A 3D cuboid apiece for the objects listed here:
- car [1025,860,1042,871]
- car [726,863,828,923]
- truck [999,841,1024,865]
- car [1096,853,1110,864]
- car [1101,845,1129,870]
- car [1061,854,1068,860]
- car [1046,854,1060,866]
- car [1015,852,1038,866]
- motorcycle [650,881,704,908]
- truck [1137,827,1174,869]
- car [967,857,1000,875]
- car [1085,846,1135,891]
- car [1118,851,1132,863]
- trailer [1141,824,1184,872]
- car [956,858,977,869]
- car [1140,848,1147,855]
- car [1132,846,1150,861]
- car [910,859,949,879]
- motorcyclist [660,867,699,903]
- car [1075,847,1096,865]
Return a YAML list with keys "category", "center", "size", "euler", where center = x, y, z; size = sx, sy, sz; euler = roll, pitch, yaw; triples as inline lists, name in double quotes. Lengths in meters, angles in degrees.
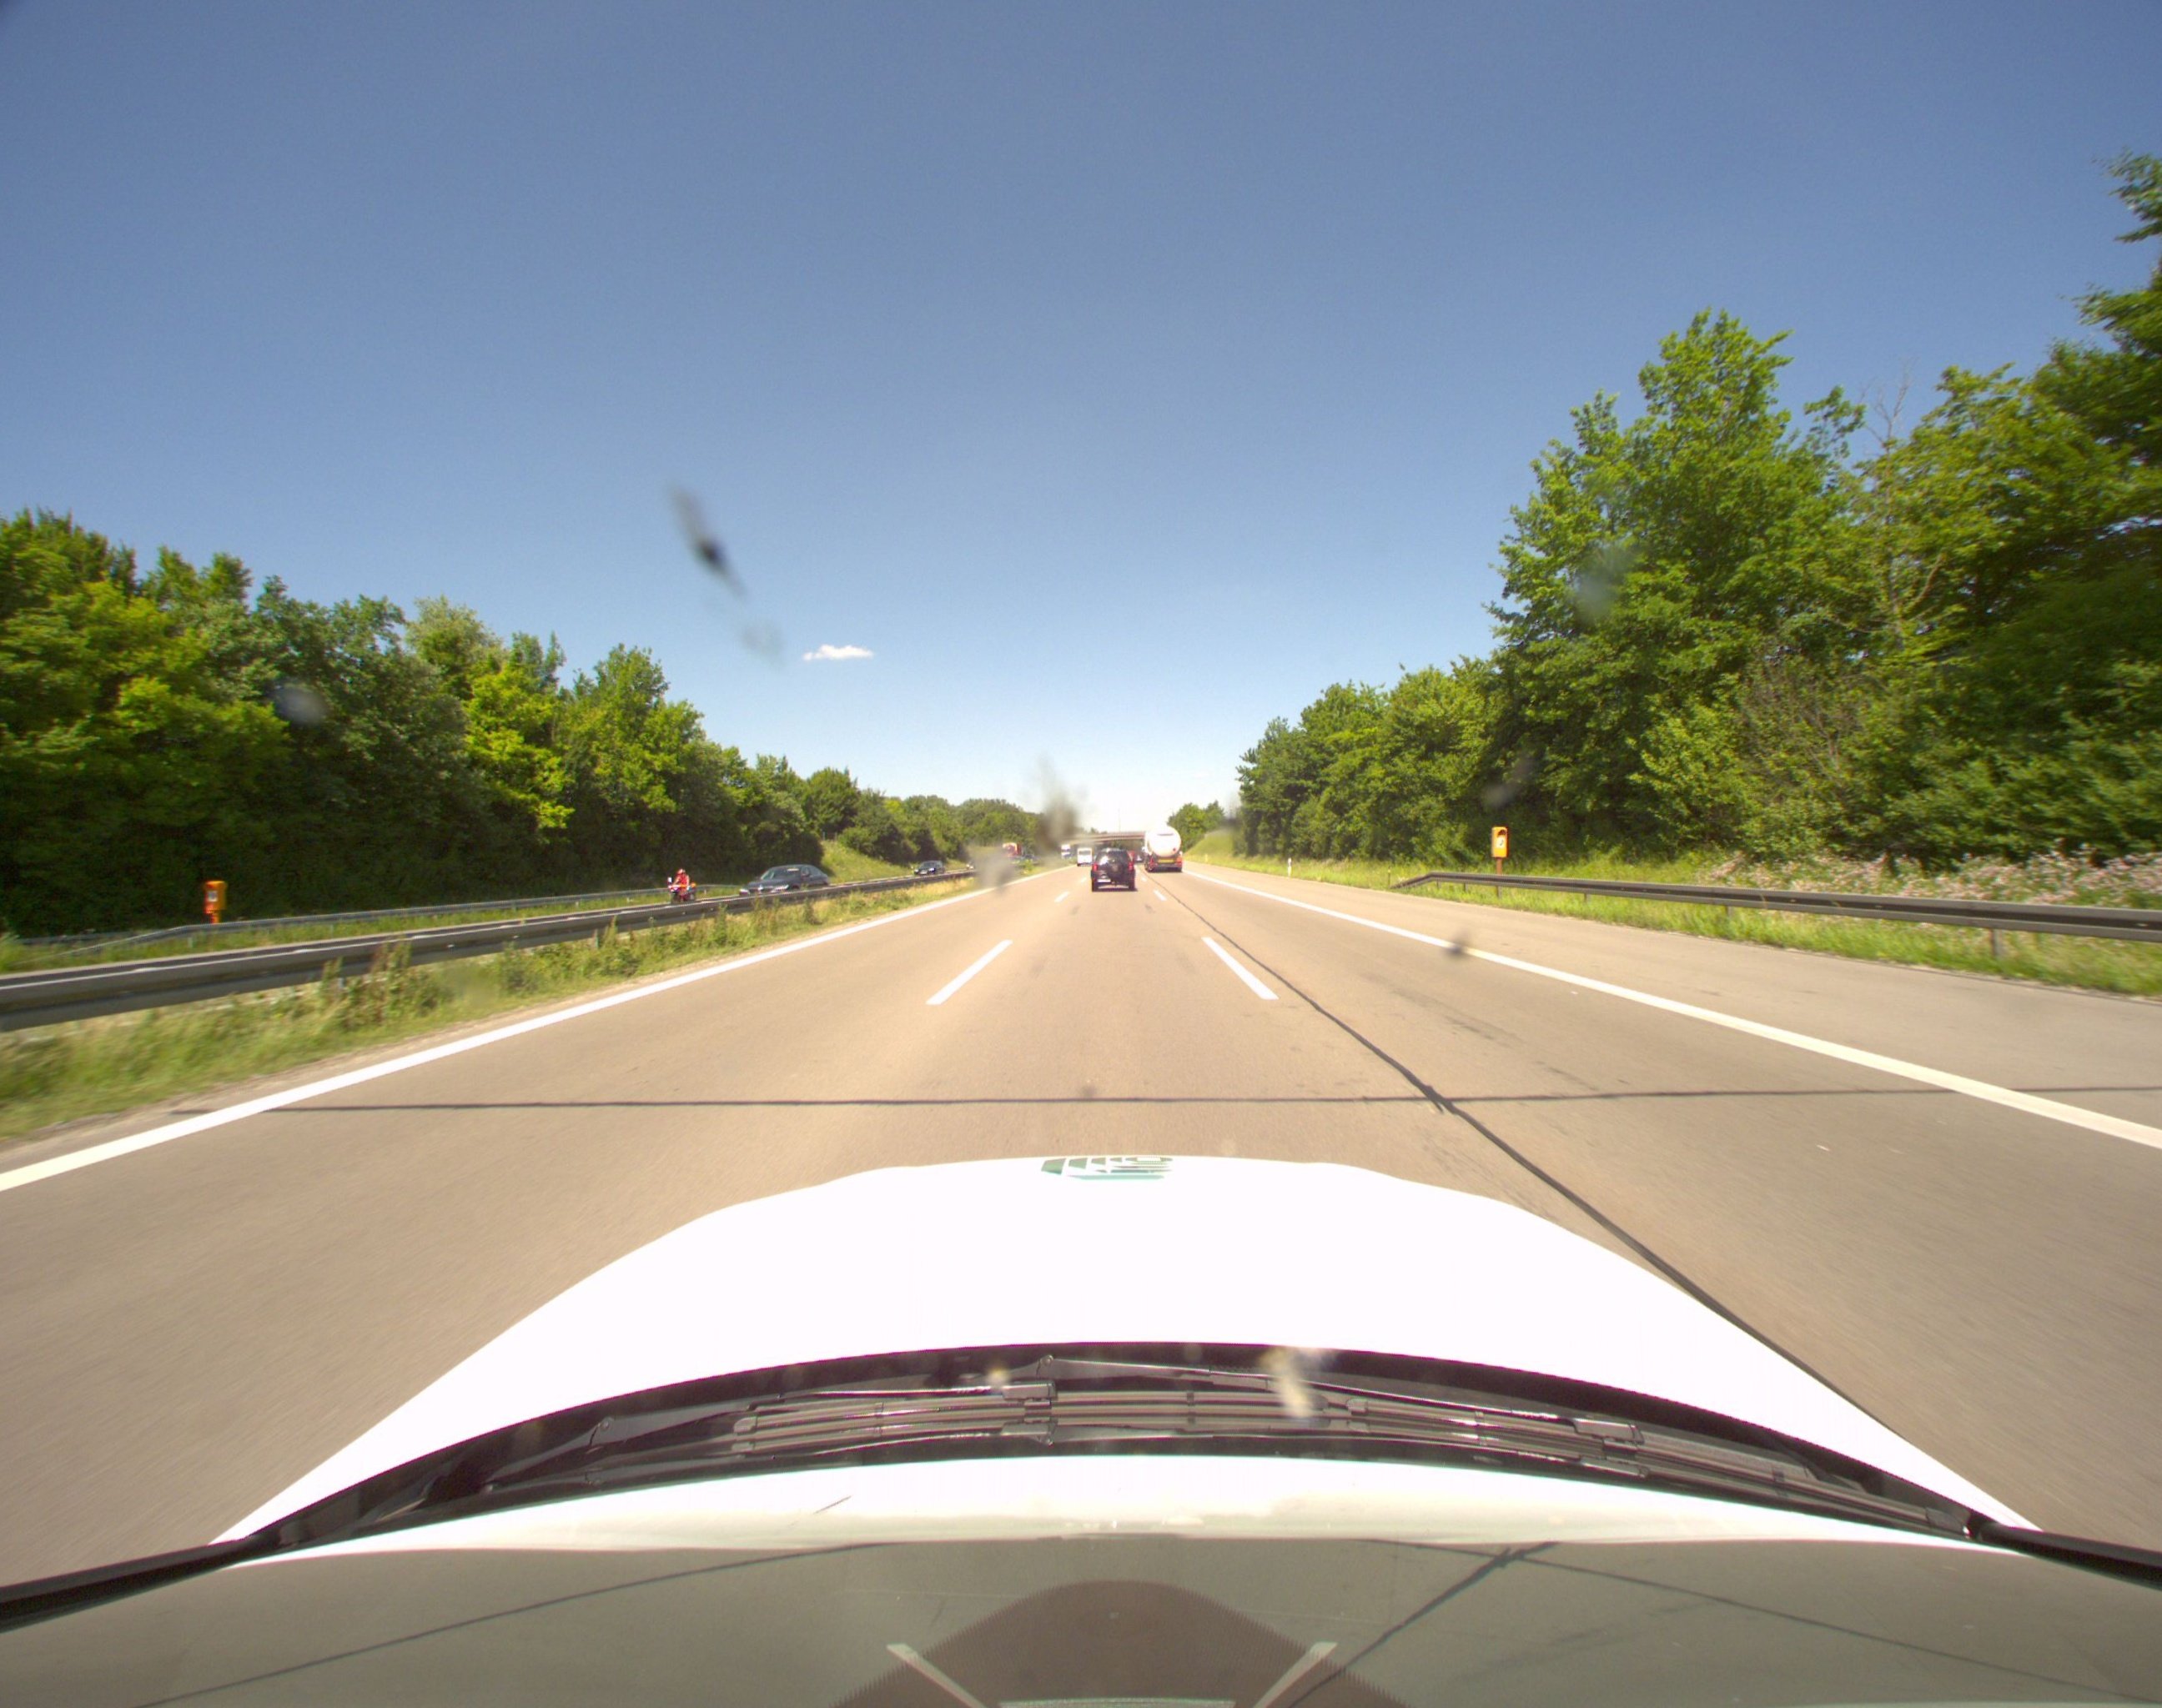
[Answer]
- category: "car"
  center: [-6.372, 1.536, 109.757]
  size: [1.661, 1.317, 4.124]
  euler: [-2, 0, 3]
- category: "car"
  center: [-10.994, 1.325, 29.852]
  size: [1.684, 1.881, 5.020]
  euler: [-3, 0, 1]
- category: "truck"
  center: [-11.828, -0.230, 139.662]
  size: [2.668, 3.769, 9.927]
  euler: [-3, 0, 3]
- category: "car"
  center: [3.157, 0.670, 117.966]
  size: [1.986, 1.552, 4.001]
  euler: [-2, -1, 2]
- category: "car"
  center: [2.565, 0.261, 61.515]
  size: [1.986, 1.706, 4.338]
  euler: [-3, 0, 2]
- category: "car"
  center: [-4.796, 0.782, 239.810]
  size: [1.851, 1.600, 4.724]
  euler: [-2, 0, 3]
- category: "car"
  center: [-4.609, 1.052, 135.493]
  size: [1.986, 1.865, 4.900]
  euler: [-2, 0, 2]
- category: "car"
  center: [-6.201, 0.548, 93.043]
  size: [1.945, 1.483, 4.350]
  euler: [-2, 0, 4]
- category: "motorcycle"
  center: [-17.489, 1.728, 35.344]
  size: [0.931, 1.017, 2.656]
  euler: [-2, 0, 2]
- category: "truck"
  center: [6.329, -0.481, 69.706]
  size: [2.628, 3.374, 6.489]
  euler: [-1, 0, 1]
- category: "car"
  center: [-8.480, 1.025, 71.088]
  size: [1.986, 1.475, 4.834]
  euler: [-2, 0, 2]
- category: "car"
  center: [1.259, 0.570, 33.552]
  size: [1.898, 1.665, 4.004]
  euler: [-2, 0, 4]
- category: "car"
  center: [6.925, 0.481, 127.132]
  size: [1.984, 1.750, 4.210]
  euler: [-2, 0, 5]
- category: "trailer"
  center: [6.239, -0.443, 64.100]
  size: [2.638, 3.390, 11.157]
  euler: [-1, 0, 2]
- category: "car"
  center: [-14.840, 1.253, 105.943]
  size: [1.740, 1.297, 5.066]
  euler: [-3, 0, 2]
- category: "car"
  center: [18.018, -0.775, 234.921]
  size: [1.804, 1.746, 4.004]
  euler: [-2, 0, 3]
- category: "car"
  center: [7.148, 0.000, 96.845]
  size: [1.984, 1.684, 4.004]
  euler: [-2, -1, 4]
- category: "car"
  center: [-12.978, 1.256, 70.233]
  size: [1.986, 1.475, 5.626]
  euler: [-2, 0, 2]
- category: "motorcyclist"
  center: [-17.507, 1.334, 35.538]
  size: [0.937, 1.443, 1.357]
  euler: [-2, 0, 1]
- category: "car"
  center: [0.544, 0.234, 93.798]
  size: [1.985, 2.013, 4.953]
  euler: [-3, 0, 3]
